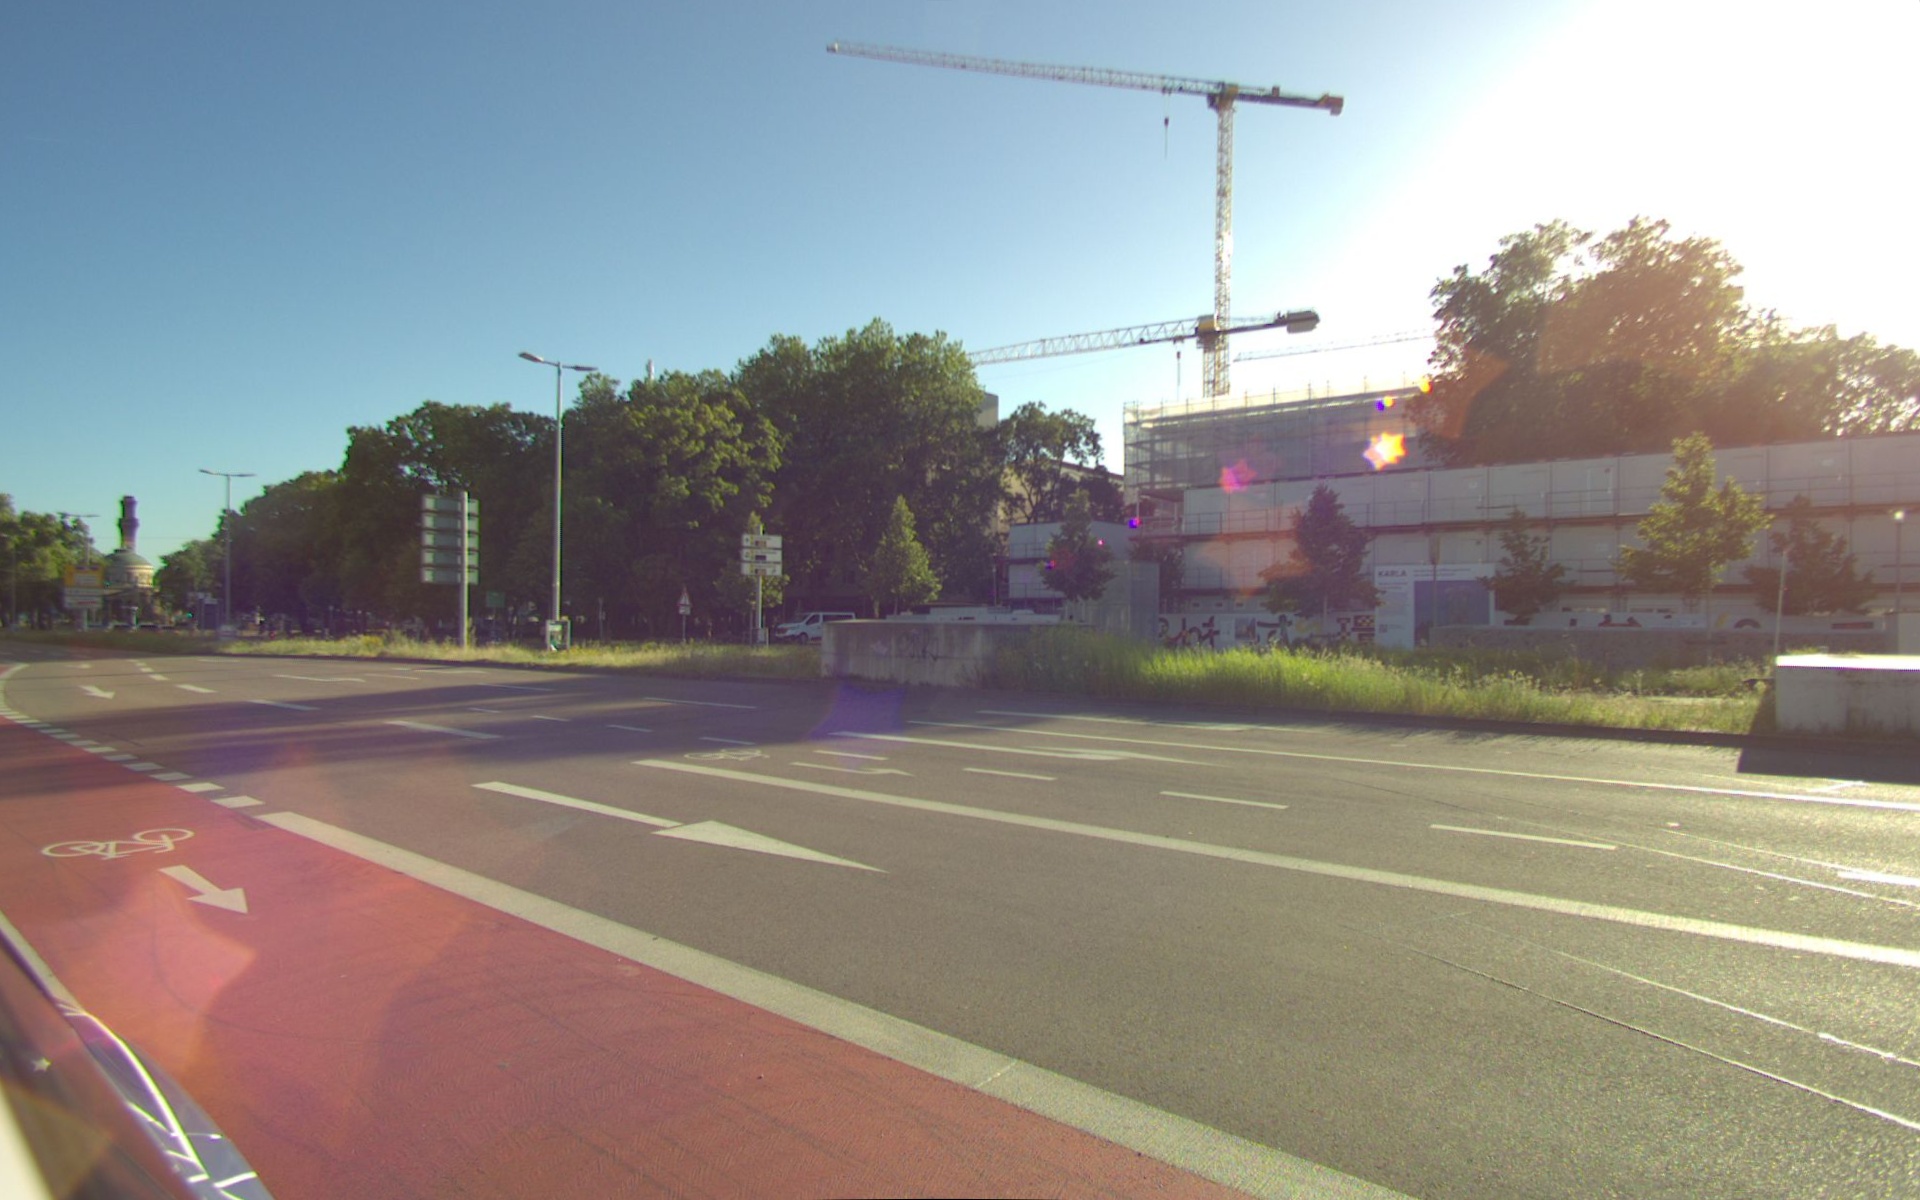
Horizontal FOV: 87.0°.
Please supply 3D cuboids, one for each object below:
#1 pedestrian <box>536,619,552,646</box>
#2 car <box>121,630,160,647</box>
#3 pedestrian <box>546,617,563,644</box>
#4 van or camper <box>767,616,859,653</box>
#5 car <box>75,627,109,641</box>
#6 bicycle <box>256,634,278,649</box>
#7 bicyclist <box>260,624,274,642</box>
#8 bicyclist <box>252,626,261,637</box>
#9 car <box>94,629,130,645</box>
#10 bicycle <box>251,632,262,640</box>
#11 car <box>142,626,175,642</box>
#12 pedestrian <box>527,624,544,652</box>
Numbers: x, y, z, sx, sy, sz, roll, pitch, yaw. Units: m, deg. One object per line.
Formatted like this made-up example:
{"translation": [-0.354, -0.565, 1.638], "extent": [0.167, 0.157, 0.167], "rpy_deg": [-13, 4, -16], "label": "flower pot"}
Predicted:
{"translation": [-26.672, 2.075, 64.836], "extent": [0.762, 1.738, 0.656], "rpy_deg": [-2, -2, 41], "label": "pedestrian"}
{"translation": [-70.554, 3.310, 87.075], "extent": [3.996, 1.409, 1.849], "rpy_deg": [-1, -2, 40], "label": "car"}
{"translation": [-26.200, 1.985, 65.387], "extent": [0.762, 1.738, 0.698], "rpy_deg": [-1, -2, 41], "label": "pedestrian"}
{"translation": [-8.928, 2.071, 61.944], "extent": [1.948, 2.029, 5.576], "rpy_deg": [-1, 0, 42], "label": "van or camper"}
{"translation": [-86.034, 3.358, 100.338], "extent": [3.995, 1.409, 1.849], "rpy_deg": [-1, -2, 39], "label": "car"}
{"translation": [-51.297, 3.062, 74.868], "extent": [2.239, 1.030, 0.631], "rpy_deg": [-1, -2, 36], "label": "bicycle"}
{"translation": [-51.305, 2.429, 74.914], "extent": [0.884, 1.292, 0.631], "rpy_deg": [-1, -2, 36], "label": "bicyclist"}
{"translation": [-76.111, 3.404, 109.452], "extent": [0.714, 1.291, 0.603], "rpy_deg": [-1, -2, 40], "label": "bicyclist"}
{"translation": [-77.433, 3.398, 92.427], "extent": [3.996, 1.409, 1.849], "rpy_deg": [-1, -2, 40], "label": "car"}
{"translation": [-76.113, 3.865, 109.439], "extent": [0.600, 0.849, 1.751], "rpy_deg": [1, -2, -23], "label": "bicycle"}
{"translation": [-80.104, 3.395, 101.130], "extent": [4.000, 1.519, 1.972], "rpy_deg": [-1, -2, 43], "label": "car"}
{"translation": [-26.968, 2.401, 64.290], "extent": [0.762, 1.738, 0.698], "rpy_deg": [-1, -2, 41], "label": "pedestrian"}
